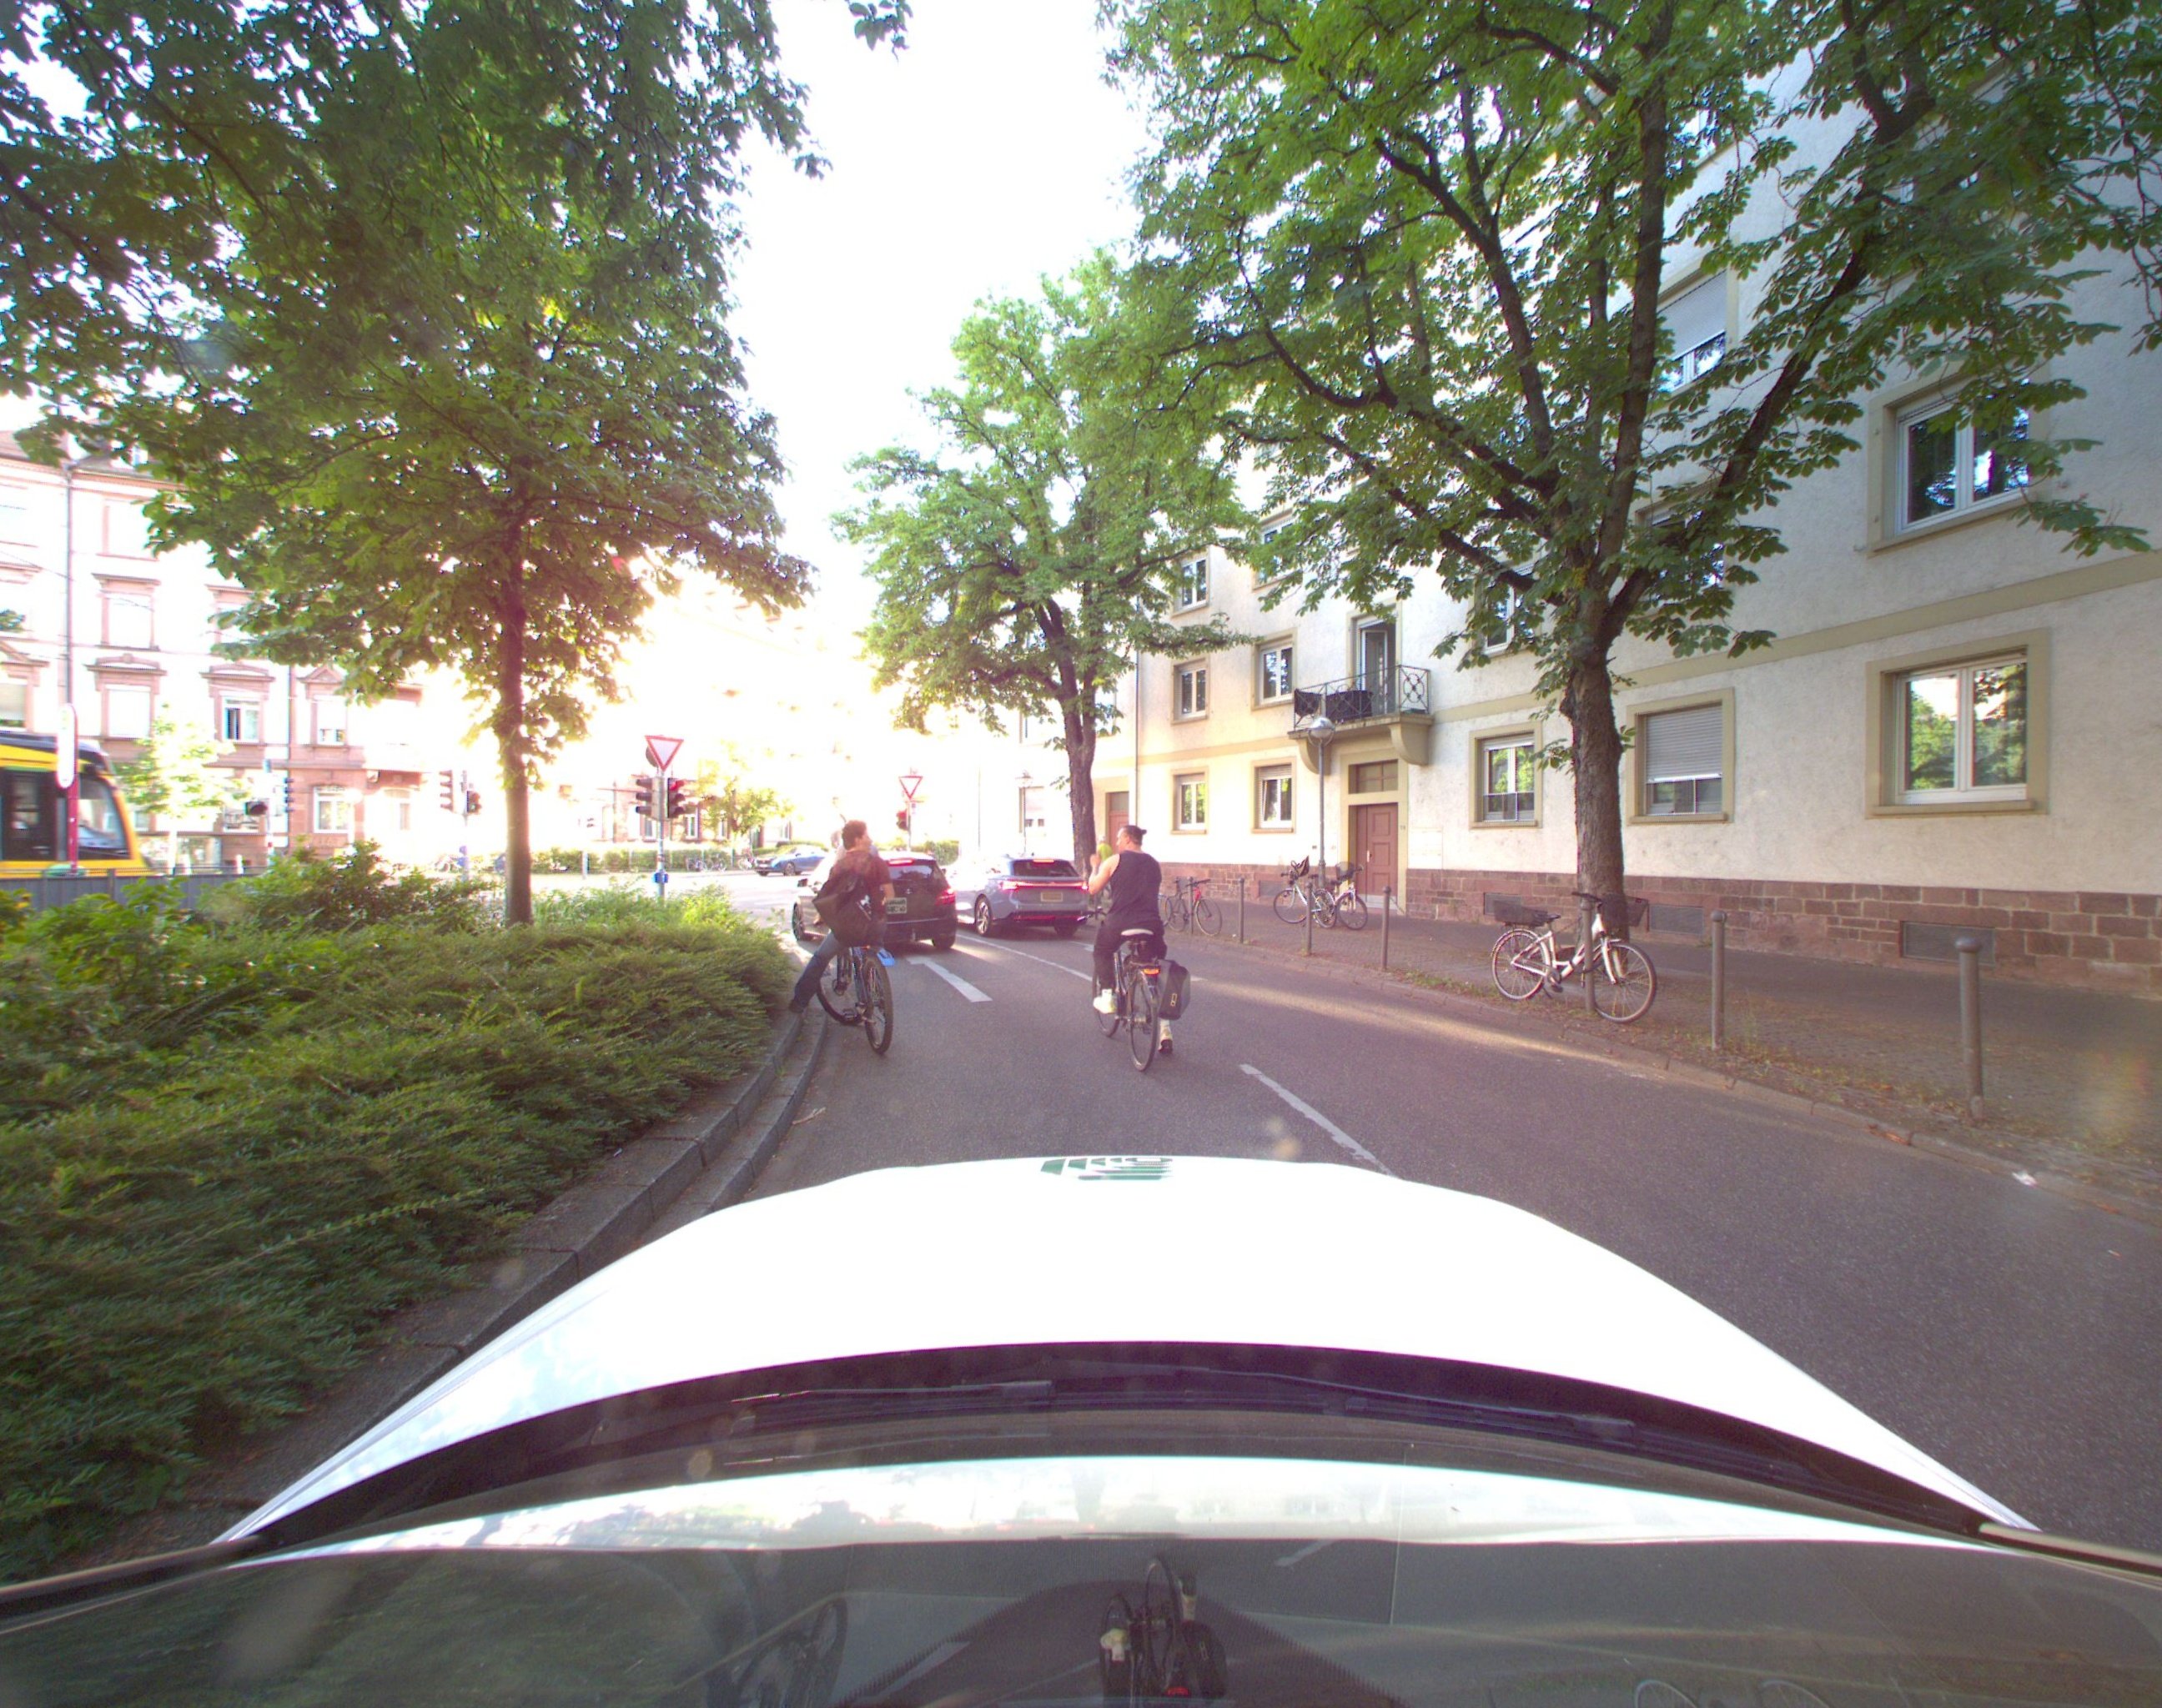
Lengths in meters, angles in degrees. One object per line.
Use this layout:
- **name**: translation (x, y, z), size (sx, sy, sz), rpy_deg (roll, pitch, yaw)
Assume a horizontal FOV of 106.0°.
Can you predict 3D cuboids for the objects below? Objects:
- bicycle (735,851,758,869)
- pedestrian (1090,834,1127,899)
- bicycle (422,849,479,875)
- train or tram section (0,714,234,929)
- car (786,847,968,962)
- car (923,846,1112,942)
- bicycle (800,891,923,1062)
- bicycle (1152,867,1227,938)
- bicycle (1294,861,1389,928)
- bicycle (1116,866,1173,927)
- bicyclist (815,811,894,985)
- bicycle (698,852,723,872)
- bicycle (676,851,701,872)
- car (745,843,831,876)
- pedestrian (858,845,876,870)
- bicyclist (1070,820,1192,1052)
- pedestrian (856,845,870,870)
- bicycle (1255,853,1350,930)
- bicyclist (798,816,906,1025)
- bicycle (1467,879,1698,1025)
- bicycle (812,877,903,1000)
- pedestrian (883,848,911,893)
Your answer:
- **bicycle**: translation (-19.760, 0.351, 48.134), size (0.438, 1.038, 1.240), rpy_deg (1, 1, 24)
- **pedestrian**: translation (0.753, 0.324, 22.576), size (0.646, 1.727, 0.881), rpy_deg (-3, 2, -25)
- **bicycle**: translation (-28.121, 0.381, 36.376), size (1.975, 1.107, 0.438), rpy_deg (2, -1, -38)
- **train or tram section**: translation (-20.484, -0.559, 11.386), size (2.769, 3.619, 11.857), rpy_deg (1, 0, 19)
- **car**: translation (-3.484, 0.694, 13.392), size (1.802, 1.542, 3.821), rpy_deg (-2, 1, -32)
- **car**: translation (-1.412, 0.678, 15.944), size (1.982, 1.585, 4.433), rpy_deg (2, -1, -29)
- **bicycle**: translation (-1.897, 0.912, 6.817), size (0.720, 1.107, 1.952), rpy_deg (1, 0, -23)
- **bicycle**: translation (1.902, 0.818, 14.496), size (0.528, 1.107, 1.728), rpy_deg (-3, 2, -21)
- **bicycle**: translation (4.718, 0.708, 14.905), size (0.669, 1.107, 1.955), rpy_deg (1, 0, -17)
- **bicycle**: translation (1.235, 0.818, 16.088), size (0.482, 1.063, 1.625), rpy_deg (-3, 2, -20)
- **bicyclist**: translation (-2.666, 0.481, 9.538), size (0.797, 1.913, 0.938), rpy_deg (1, 0, -21)
- **bicycle**: translation (-20.792, 0.430, 45.725), size (0.438, 1.107, 1.241), rpy_deg (1, 1, 25)
- **bicycle**: translation (-21.419, 0.399, 44.435), size (0.438, 1.107, 1.241), rpy_deg (1, 1, 25)
- **car**: translation (-15.637, 0.279, 43.736), size (1.926, 1.650, 4.432), rpy_deg (0, 0, 19)
- **pedestrian**: translation (-14.704, 0.221, 55.892), size (0.703, 1.664, 0.904), rpy_deg (4, 2, 36)
- **bicyclist**: translation (0.361, 0.583, 6.394), size (0.687, 1.656, 0.985), rpy_deg (-1, 0, -13)
- **pedestrian**: translation (-15.163, 0.213, 56.687), size (0.655, 1.715, 0.640), rpy_deg (0, 0, 32)
- **bicycle**: translation (4.007, 0.642, 14.906), size (0.719, 1.277, 1.954), rpy_deg (-1, 1, -18)
- **bicyclist**: translation (-1.907, 0.497, 6.711), size (0.710, 1.573, 0.949), rpy_deg (1, 0, -25)
- **bicycle**: translation (4.552, 0.826, 7.593), size (0.514, 1.095, 1.962), rpy_deg (-2, 1, -18)
- **bicycle**: translation (-2.658, 0.895, 9.505), size (0.813, 1.184, 2.211), rpy_deg (0, 0, -21)
- **pedestrian**: translation (-6.965, 0.614, 30.842), size (0.904, 1.635, 0.721), rpy_deg (2, 1, -19)
